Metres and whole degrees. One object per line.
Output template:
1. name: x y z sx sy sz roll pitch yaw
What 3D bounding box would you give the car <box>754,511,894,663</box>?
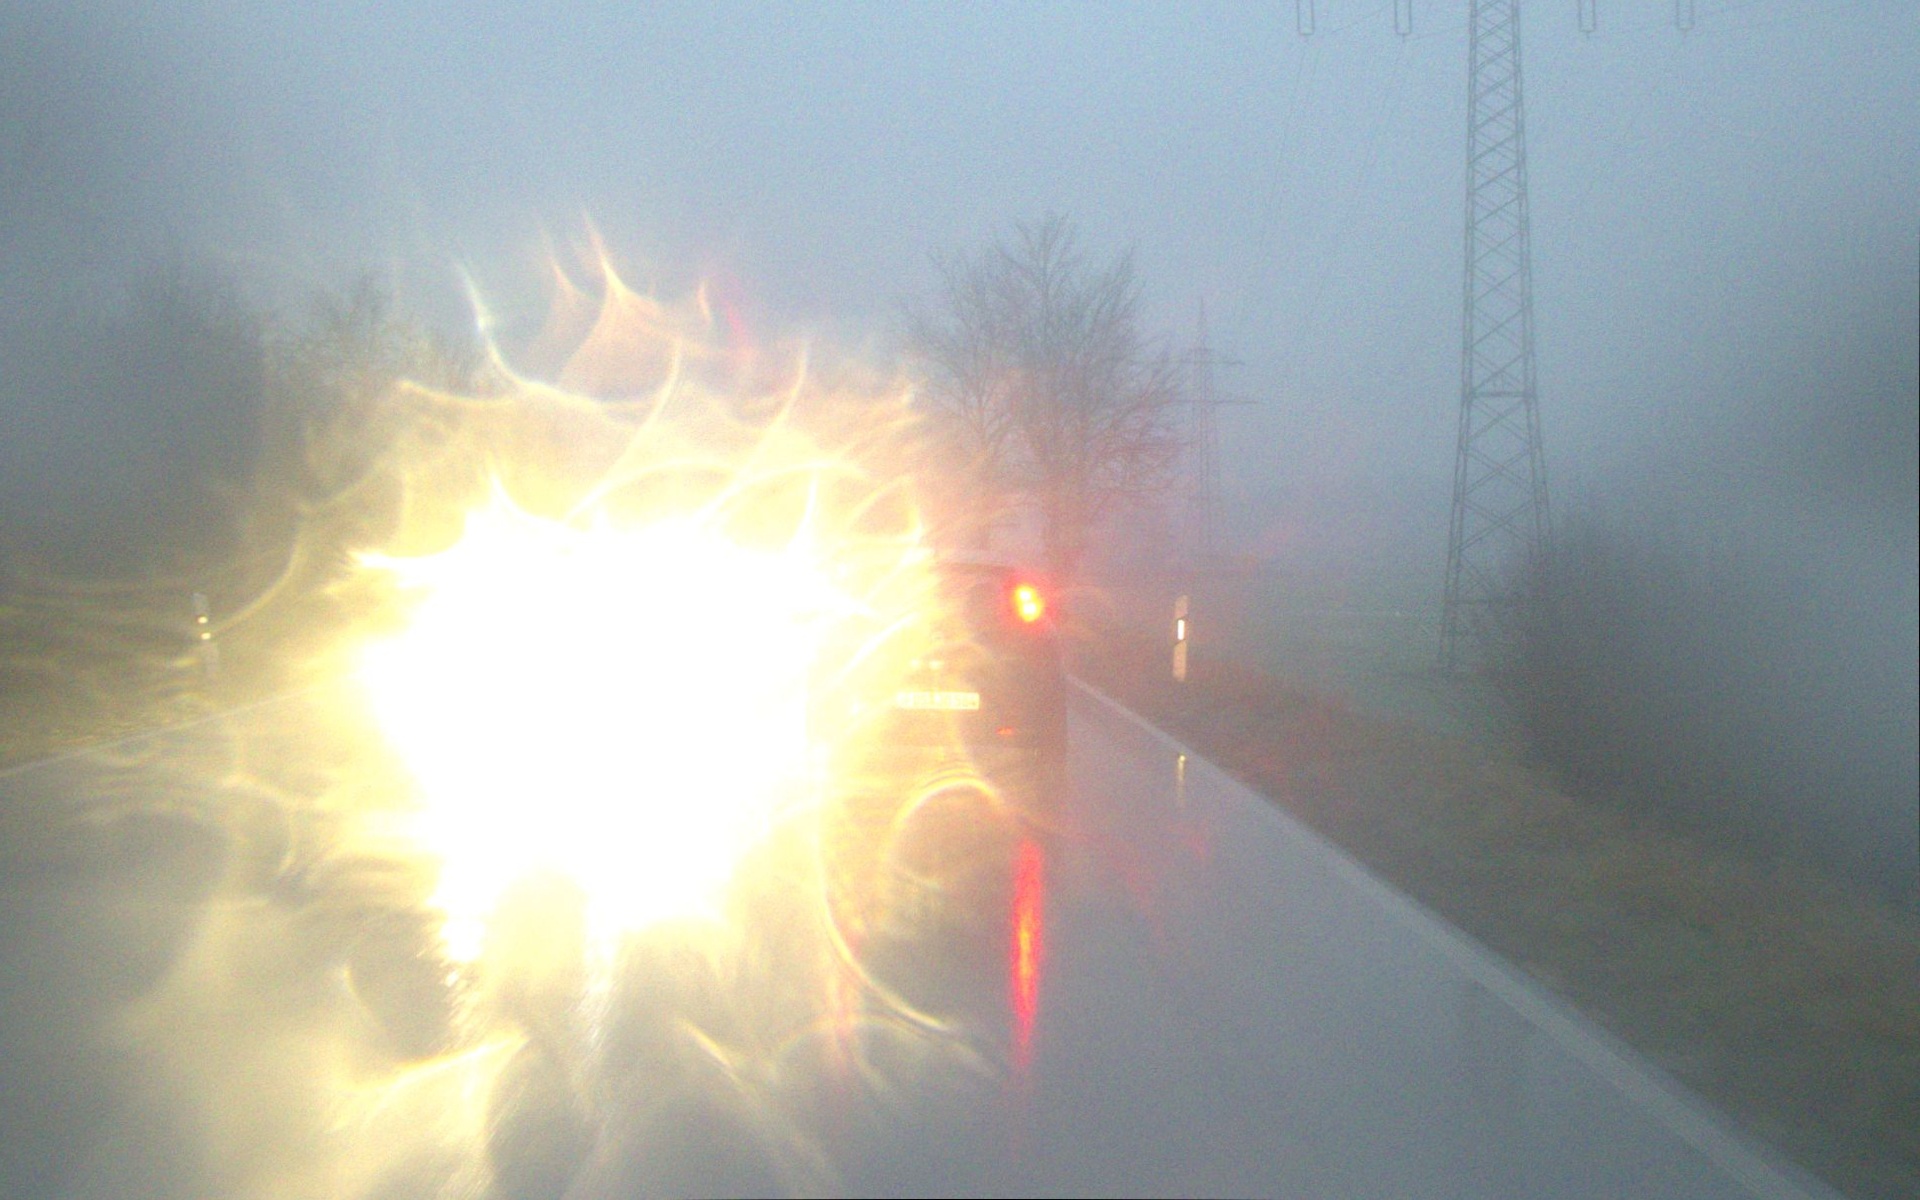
1. car: -1.852 -0.201 47.840 1.852 2.007 4.000 1 1 -1

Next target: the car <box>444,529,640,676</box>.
1. car: -4.550 -0.022 37.957 1.688 1.502 4.413 0 1 -1

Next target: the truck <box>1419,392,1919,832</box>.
1. truck: 5.679 -0.005 25.536 2.503 2.562 10.807 1 1 -3

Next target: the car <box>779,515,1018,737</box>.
1. car: -0.418 0.142 23.393 1.500 1.393 3.200 1 1 -1
